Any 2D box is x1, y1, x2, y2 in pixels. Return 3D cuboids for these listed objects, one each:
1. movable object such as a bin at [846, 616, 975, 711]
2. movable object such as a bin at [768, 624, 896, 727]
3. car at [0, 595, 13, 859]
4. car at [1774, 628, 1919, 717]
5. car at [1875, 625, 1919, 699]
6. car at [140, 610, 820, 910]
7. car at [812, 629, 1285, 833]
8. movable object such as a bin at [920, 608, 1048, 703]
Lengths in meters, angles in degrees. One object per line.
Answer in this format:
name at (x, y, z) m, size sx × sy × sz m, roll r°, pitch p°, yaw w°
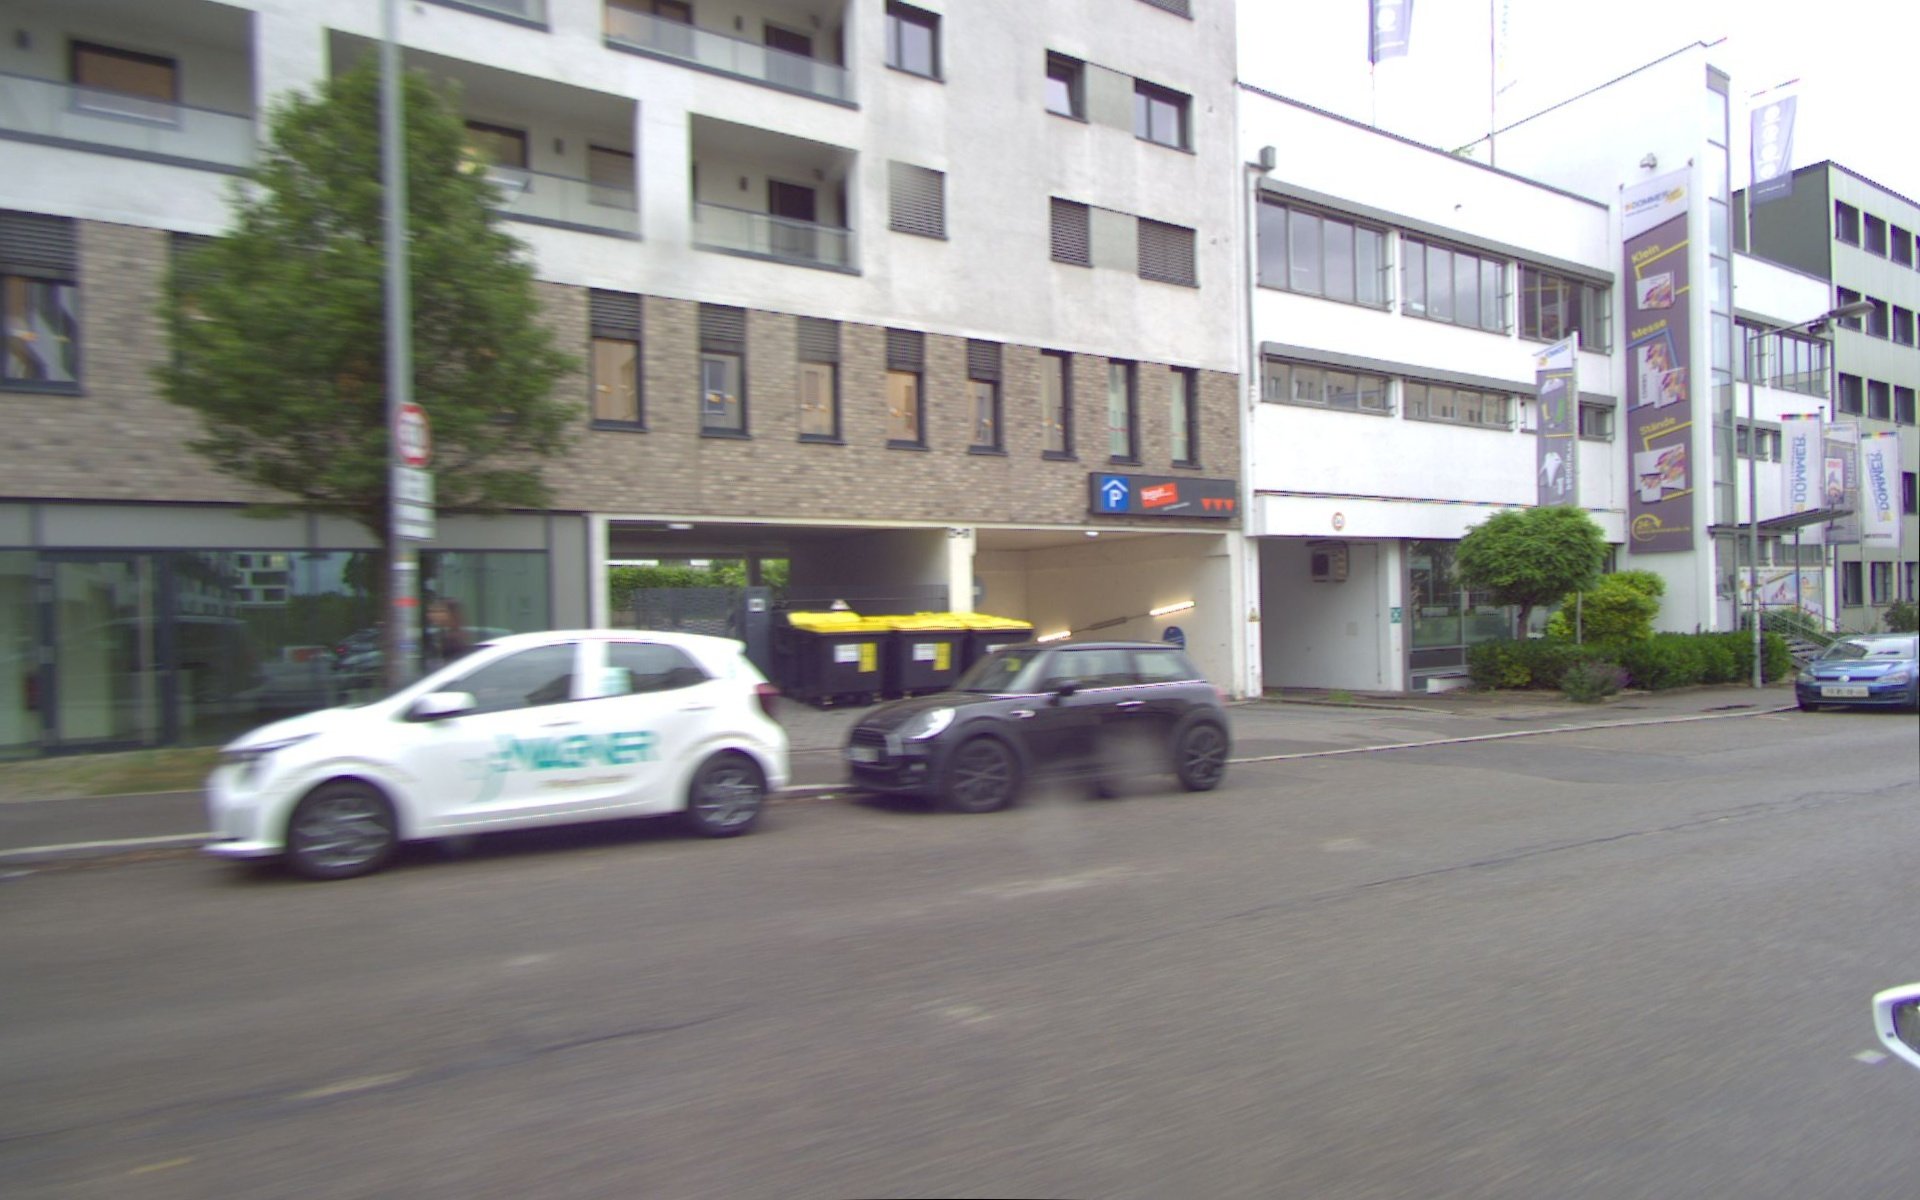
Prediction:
movable object such as a bin at (-0.865, 1.009, 16.797) m, size 1.303 × 1.442 × 2.041 m, roll 1°, pitch 0°, yaw -34°
movable object such as a bin at (-2.077, 1.153, 16.096) m, size 1.276 × 1.449 × 2.014 m, roll 1°, pitch 1°, yaw -34°
car at (-7.498, 0.754, 4.320) m, size 4.633 × 1.630 × 2.066 m, roll 0°, pitch -2°, yaw -32°
car at (17.611, 1.311, 19.270) m, size 4.310 × 1.500 × 1.902 m, roll 1°, pitch -1°, yaw -34°
car at (21.243, 1.288, 21.562) m, size 3.136 × 1.534 × 1.555 m, roll 0°, pitch -2°, yaw -32°
car at (-3.201, 0.890, 7.257) m, size 3.986 × 1.622 × 1.764 m, roll 0°, pitch -1°, yaw -31°
car at (0.896, 1.063, 9.506) m, size 4.194 × 1.536 × 1.789 m, roll 1°, pitch -1°, yaw -29°
movable object such as a bin at (0.400, 0.951, 17.463) m, size 1.466 × 1.530 × 1.785 m, roll 1°, pitch -3°, yaw -34°
